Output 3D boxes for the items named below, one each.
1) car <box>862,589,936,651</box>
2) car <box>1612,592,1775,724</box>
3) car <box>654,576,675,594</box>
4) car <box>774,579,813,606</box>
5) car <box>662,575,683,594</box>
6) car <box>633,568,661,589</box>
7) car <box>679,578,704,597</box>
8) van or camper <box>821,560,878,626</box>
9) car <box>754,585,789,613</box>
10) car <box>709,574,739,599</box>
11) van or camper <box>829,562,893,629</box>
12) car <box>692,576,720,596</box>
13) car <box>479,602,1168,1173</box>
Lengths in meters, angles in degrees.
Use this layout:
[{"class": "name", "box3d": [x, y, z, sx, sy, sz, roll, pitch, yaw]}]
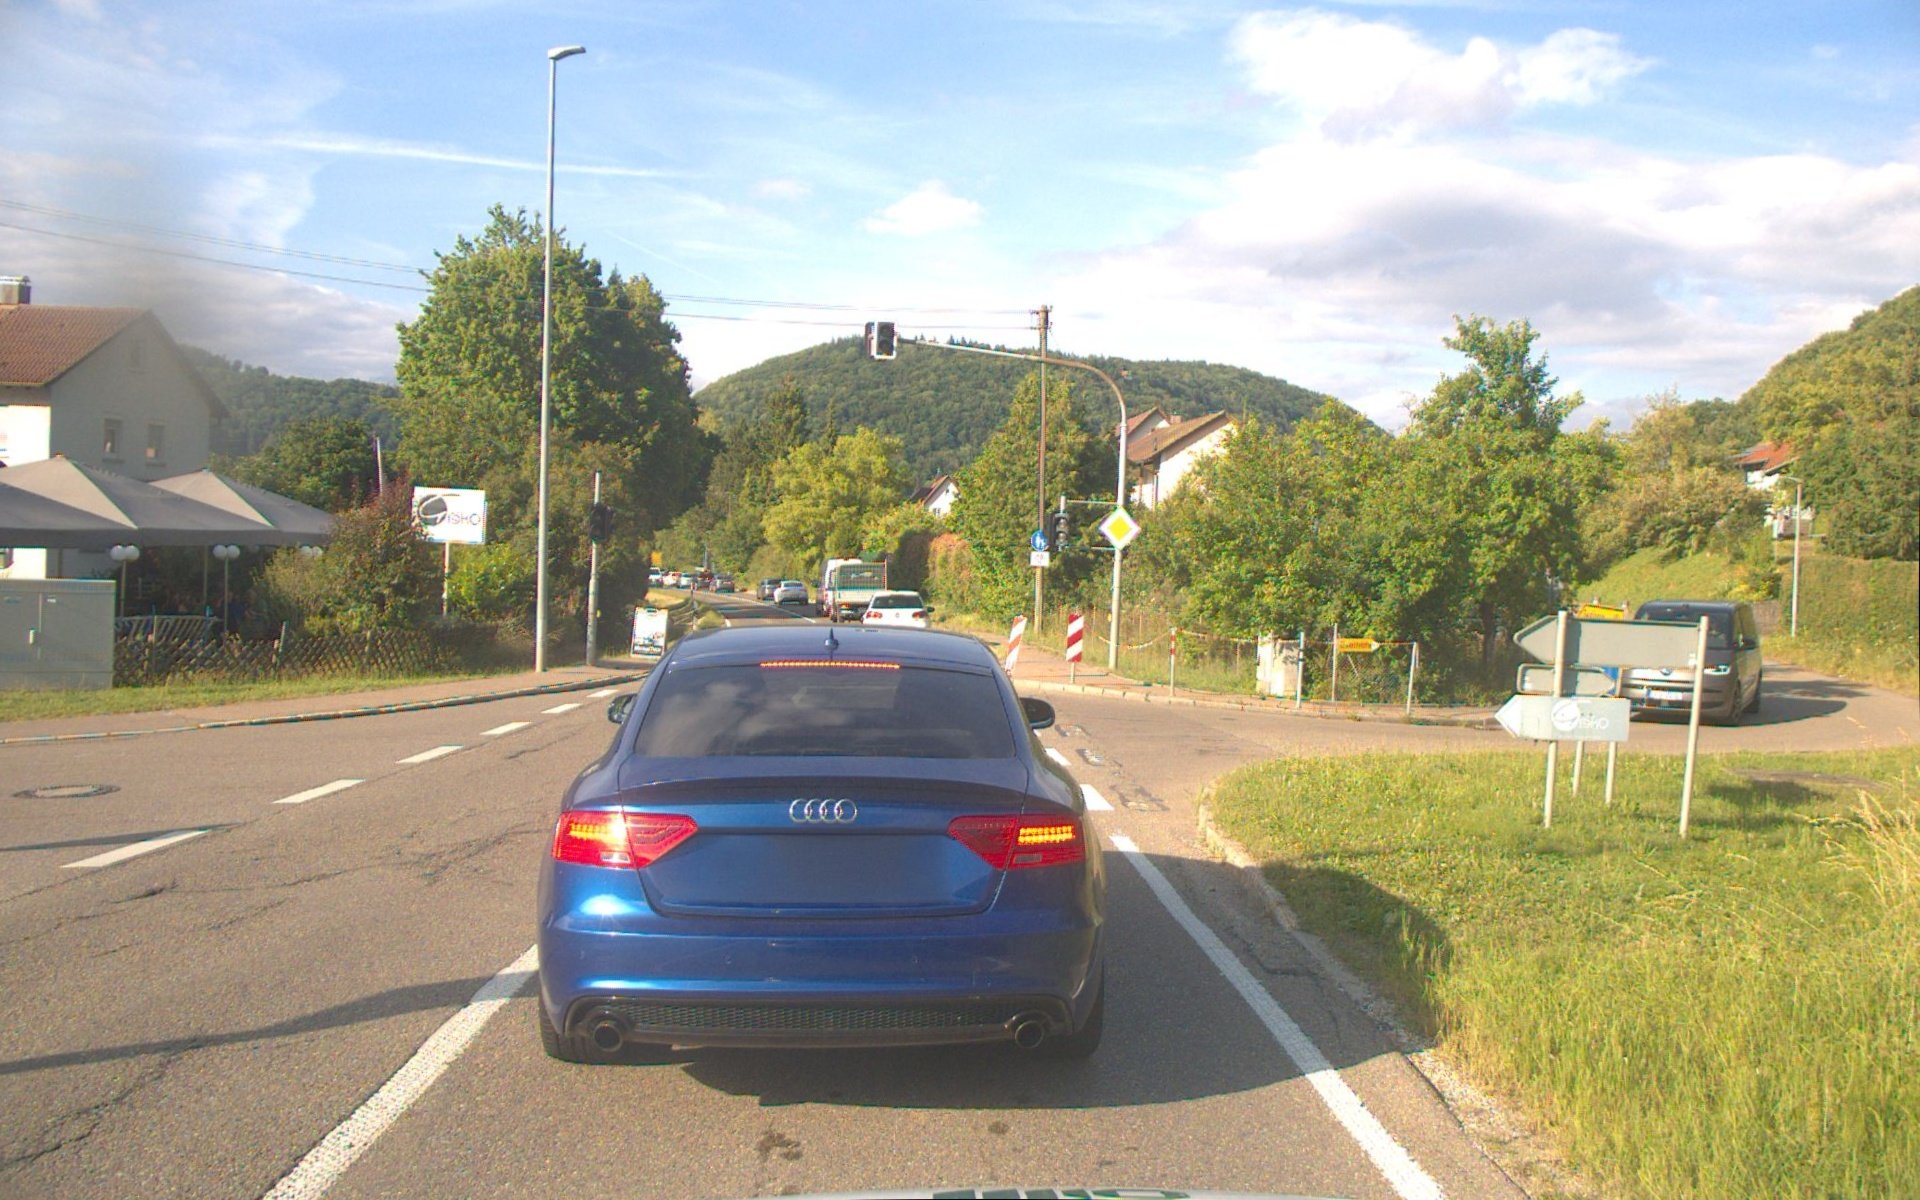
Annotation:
[{"class": "car", "box3d": [-1.570, 0.477, 42.549, 1.736, 1.439, 4.172, 2, 0, -2]}, {"class": "car", "box3d": [12.346, 0.885, 27.663, 1.957, 1.909, 4.862, 3, 1, 29]}, {"class": "car", "box3d": [-30.431, -1.528, 170.313, 1.743, 1.814, 3.983, 0, 1, -16]}, {"class": "car", "box3d": [-10.051, -0.488, 99.721, 1.788, 1.579, 3.986, 0, 1, -14]}, {"class": "car", "box3d": [-28.643, -1.550, 164.660, 1.720, 1.814, 3.983, 0, 1, -16]}, {"class": "car", "box3d": [-29.337, -2.013, 155.121, 1.962, 1.937, 5.227, -1, 1, -18]}, {"class": "car", "box3d": [-25.346, -1.167, 156.128, 1.910, 1.713, 3.983, 0, 0, -16]}, {"class": "van or camper", "box3d": [-5.215, -0.367, 77.367, 2.369, 2.955, 6.123, 0, 1, -7]}, {"class": "car", "box3d": [-12.710, -0.094, 111.338, 1.766, 1.825, 3.985, 0, 1, -15]}, {"class": "car", "box3d": [-19.686, -1.111, 137.861, 1.960, 2.049, 3.985, 0, 1, -15]}, {"class": "van or camper", "box3d": [-3.833, -0.211, 63.321, 2.138, 2.426, 5.362, 0, 1, -7]}, {"class": "car", "box3d": [-22.656, -1.261, 147.645, 2.007, 1.713, 3.983, 0, 1, -16]}, {"class": "car", "box3d": [-0.436, 0.747, 6.446, 1.793, 1.433, 4.224, 0, 0, -2]}]
